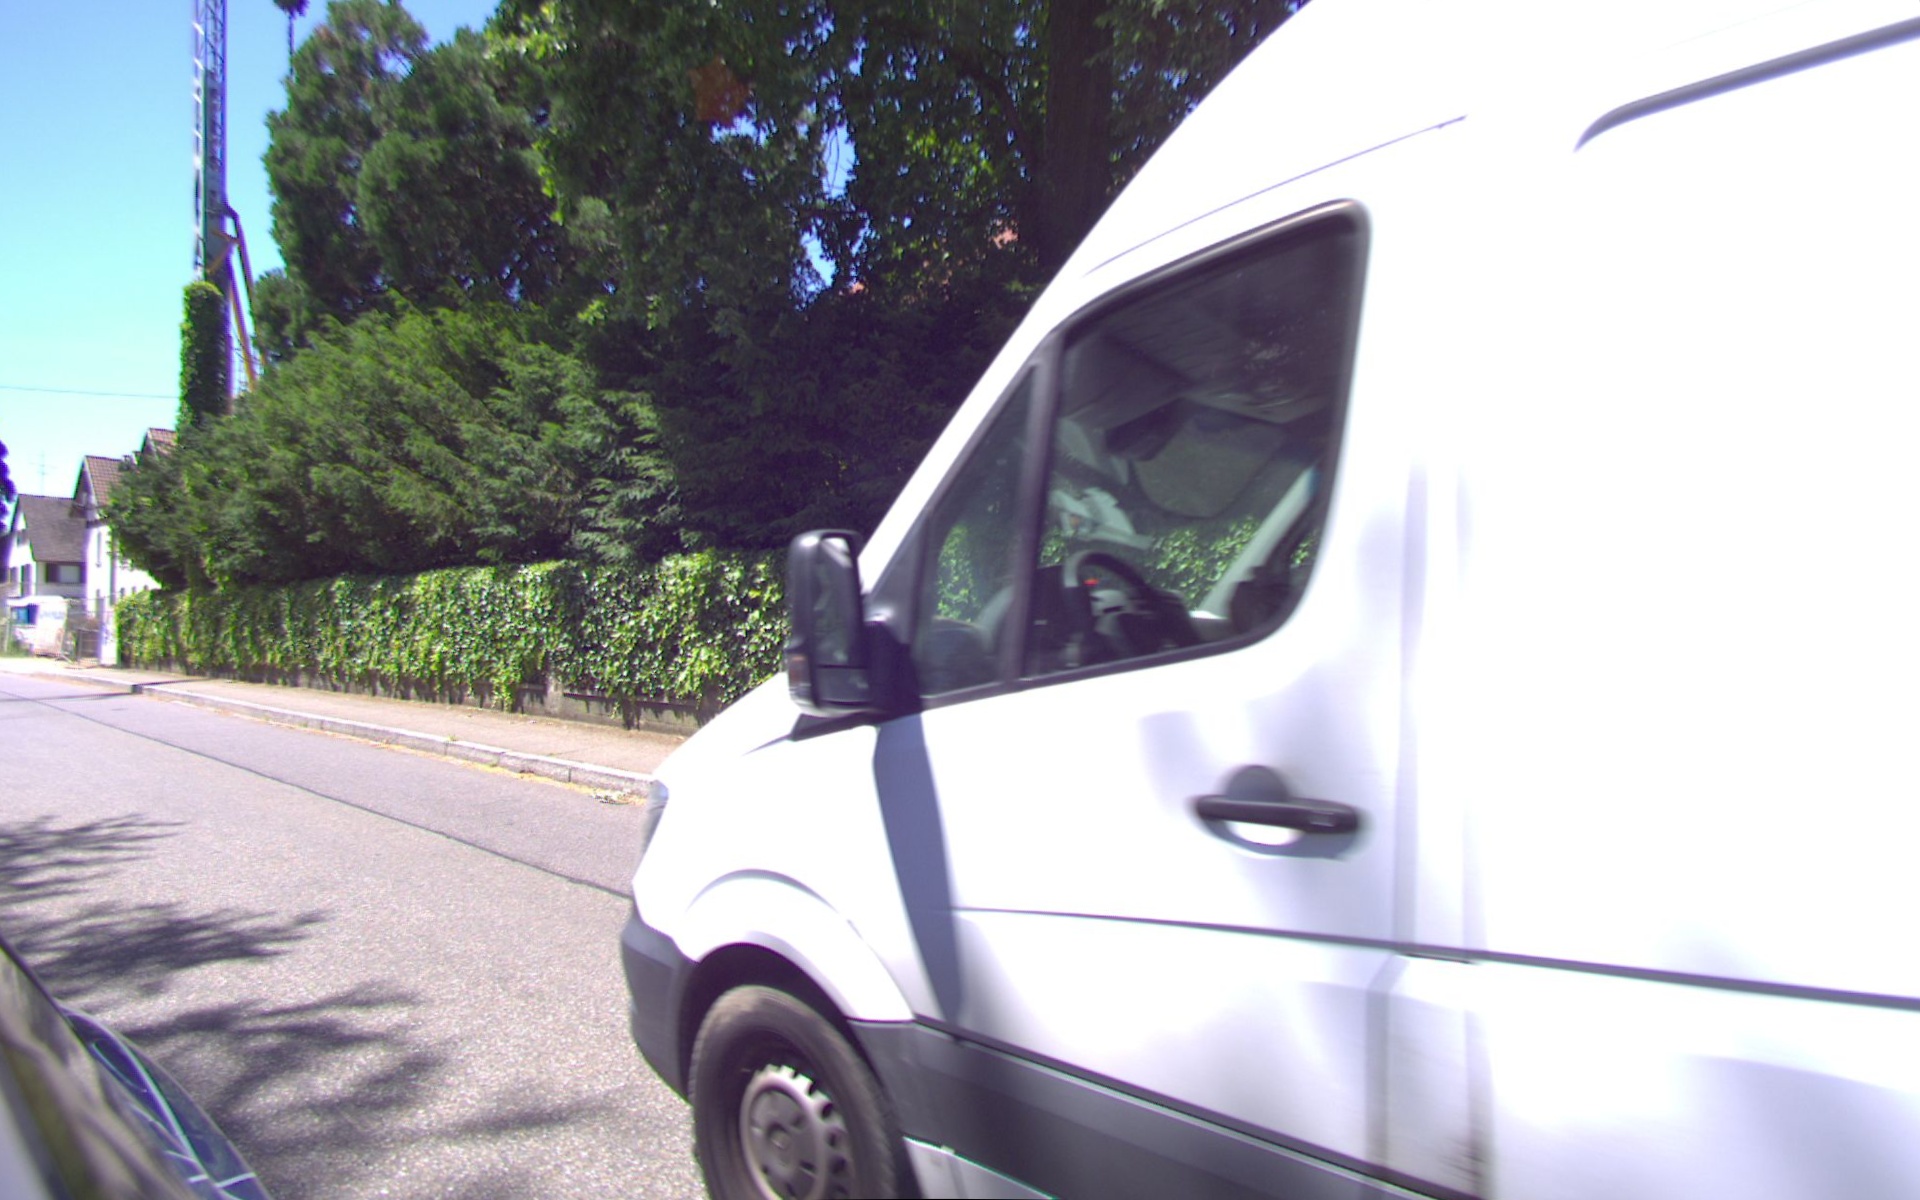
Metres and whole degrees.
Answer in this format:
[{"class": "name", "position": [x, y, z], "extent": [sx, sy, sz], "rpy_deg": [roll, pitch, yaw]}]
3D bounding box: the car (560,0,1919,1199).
[{"class": "car", "position": [1.827, 0.162, 1.398], "extent": [5.891, 2.552, 1.973], "rpy_deg": [-2, -2, 41]}]
